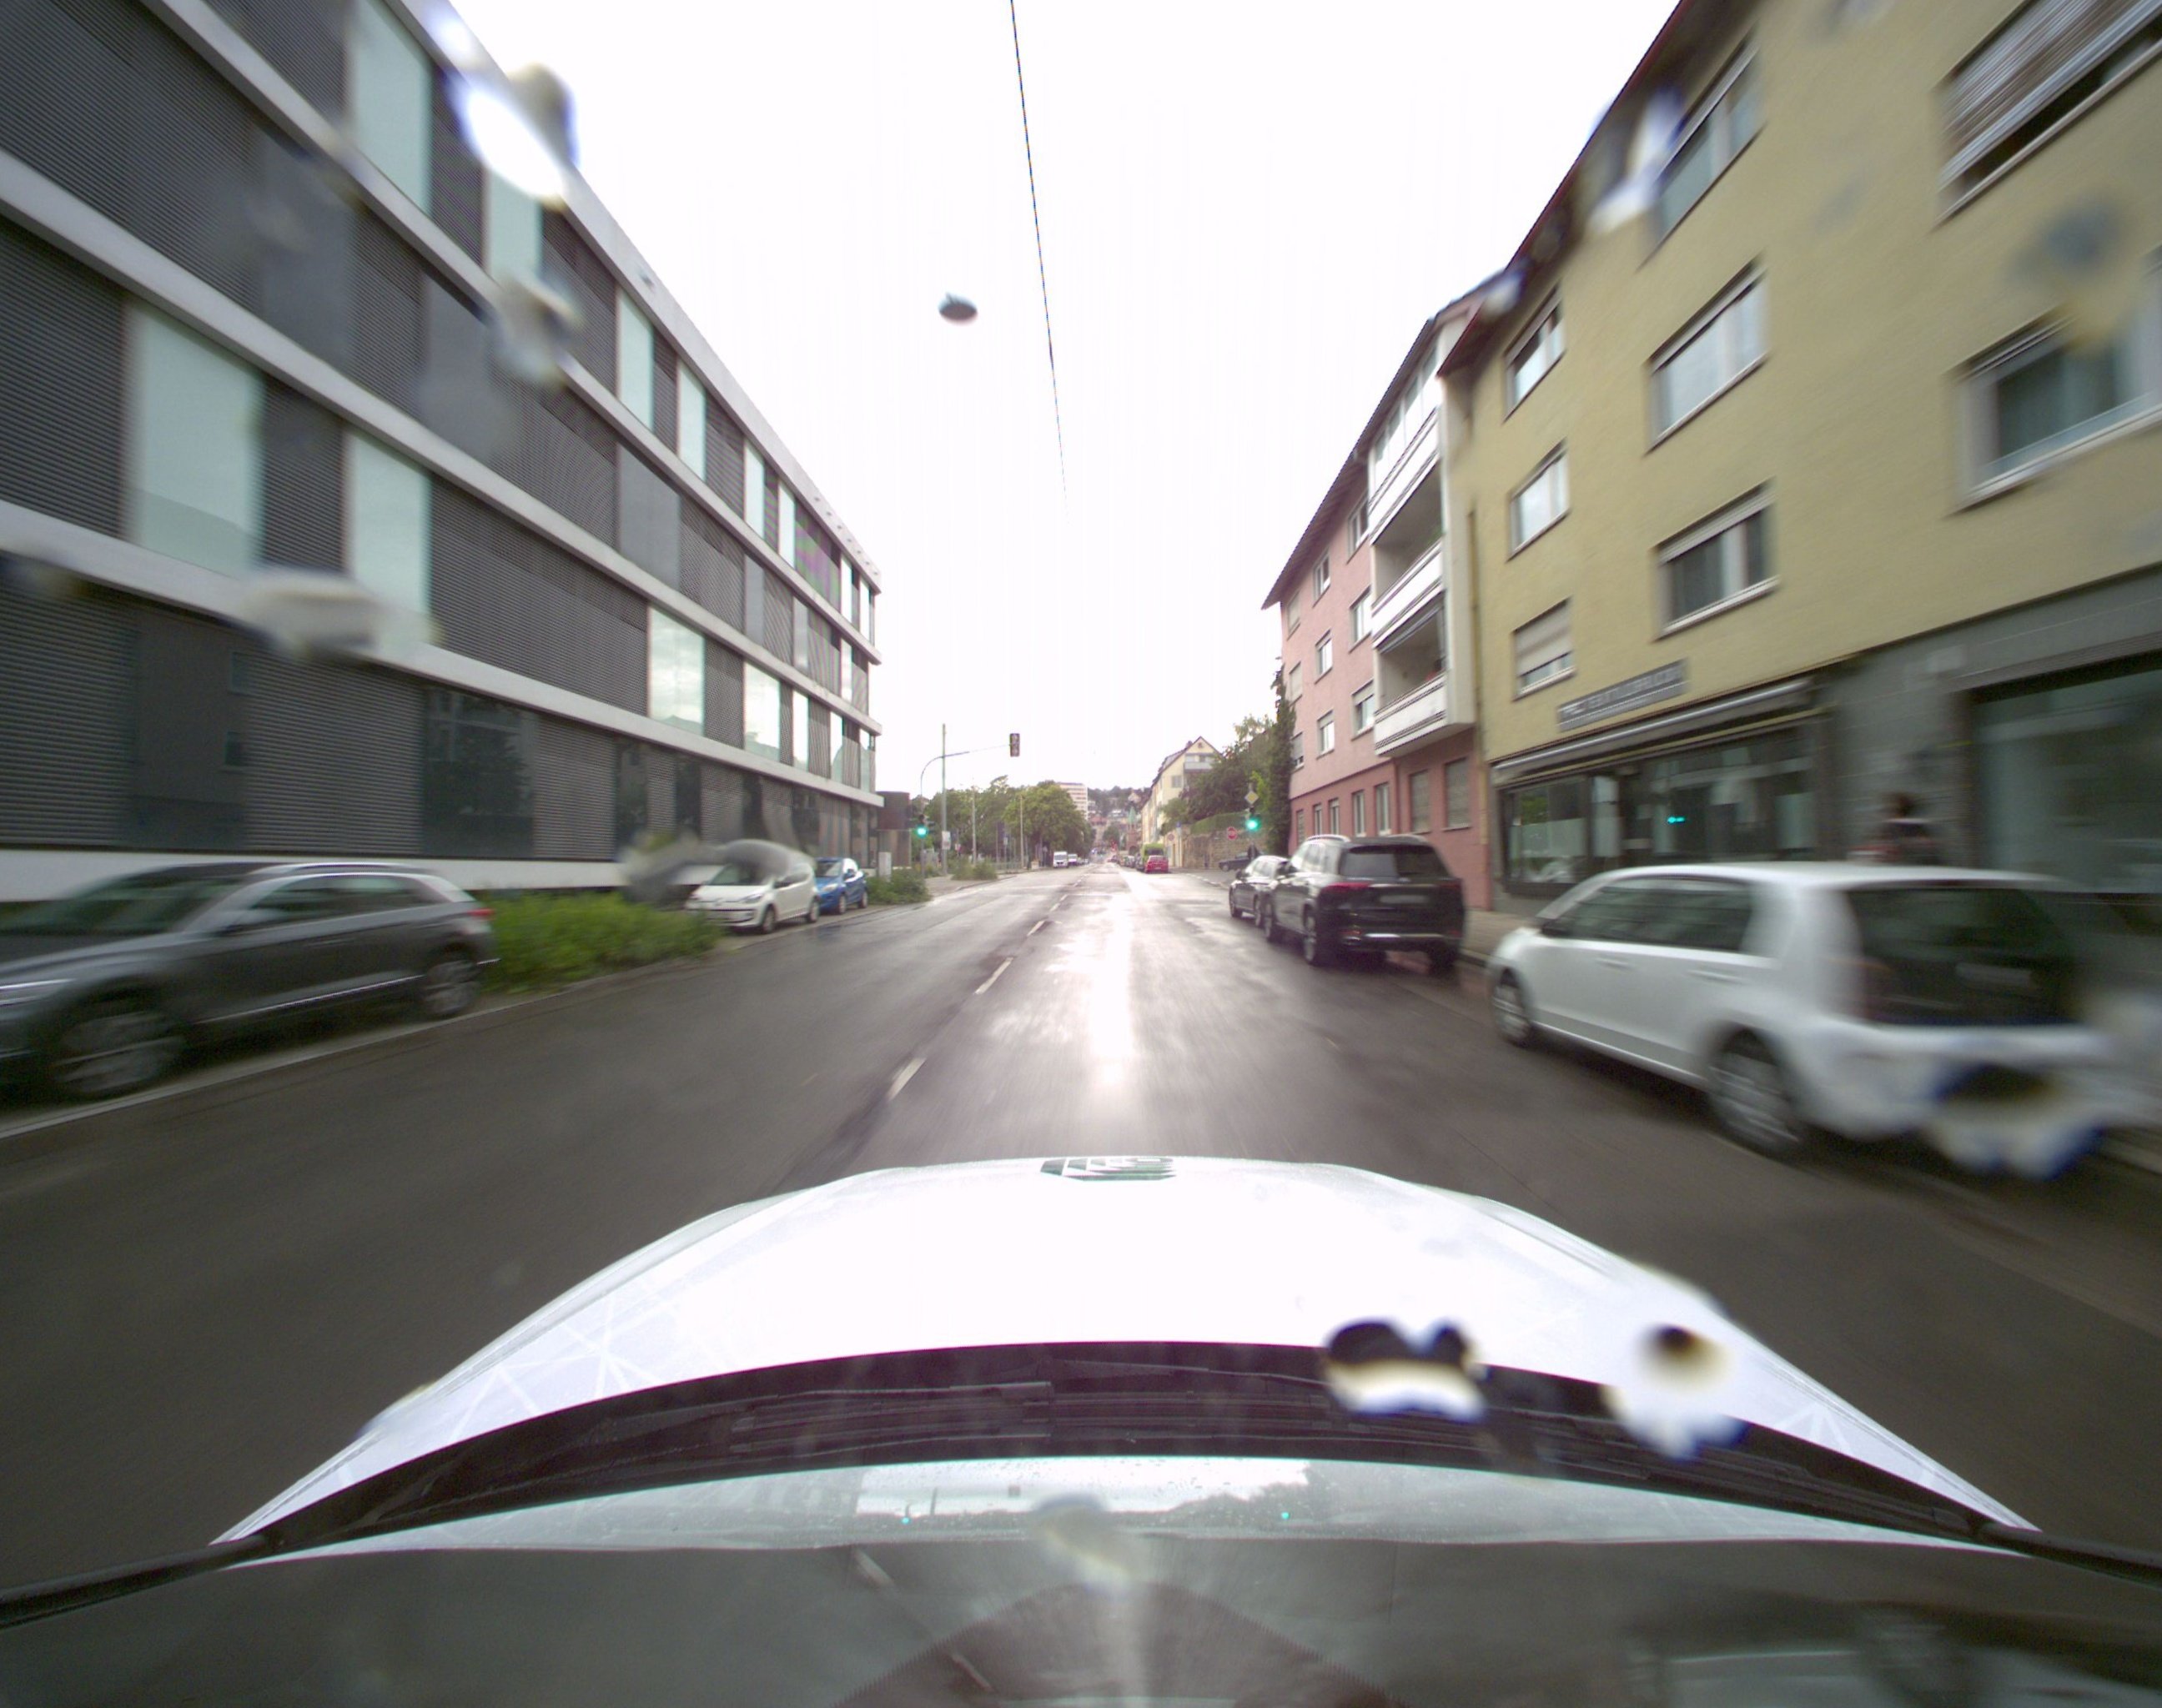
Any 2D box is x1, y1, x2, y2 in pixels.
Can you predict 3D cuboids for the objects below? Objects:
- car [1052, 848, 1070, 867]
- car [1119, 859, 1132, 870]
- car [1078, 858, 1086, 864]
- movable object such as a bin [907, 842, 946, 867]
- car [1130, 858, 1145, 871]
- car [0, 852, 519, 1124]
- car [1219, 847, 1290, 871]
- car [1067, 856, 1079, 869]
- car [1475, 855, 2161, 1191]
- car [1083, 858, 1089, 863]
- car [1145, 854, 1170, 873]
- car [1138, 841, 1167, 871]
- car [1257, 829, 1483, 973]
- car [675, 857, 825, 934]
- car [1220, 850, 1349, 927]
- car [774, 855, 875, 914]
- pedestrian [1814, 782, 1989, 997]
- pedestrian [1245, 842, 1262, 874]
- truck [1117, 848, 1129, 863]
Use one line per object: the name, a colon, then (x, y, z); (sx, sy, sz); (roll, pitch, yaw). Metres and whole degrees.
car: (-2.911, 0.489, 120.076); (2.222, 2.579, 6.538); (-2, 0, 1)
car: (6.704, 1.535, 123.100); (1.710, 1.524, 4.001); (1, 0, 1)
car: (0.166, 1.504, 174.894); (1.676, 1.399, 3.910); (-1, -1, 1)
movable object such as a bin: (-15.564, 0.060, 81.698); (1.679, 2.459, 5.229); (0, -1, -38)
car: (6.827, 1.266, 98.789); (1.623, 1.454, 3.760); (1, 0, 1)
car: (-7.261, 0.800, 6.783); (1.874, 1.589, 4.367); (1, 0, 4)
car: (11.419, 0.346, 53.785); (4.224, 1.393, 1.763); (-4, -3, 44)
car: (-1.608, 1.589, 159.214); (2.004, 2.487, 5.987); (-1, 0, 2)
car: (4.192, 0.749, 5.345); (1.620, 1.456, 3.485); (0, 0, 2)
car: (1.411, 1.790, 230.582); (1.704, 1.451, 4.294); (-1, -1, 1)
car: (5.968, 0.712, 63.840); (1.714, 1.421, 4.206); (1, 0, 3)
car: (6.121, 0.149, 70.598); (2.197, 2.463, 6.083); (1, 0, 2)
car: (4.066, 0.574, 12.364); (1.956, 1.774, 4.514); (0, 0, 2)
car: (-6.988, 0.816, 17.596); (1.630, 1.466, 3.586); (0, 0, 3)
car: (4.427, 0.671, 18.422); (1.786, 1.520, 4.511); (0, 0, 0)
car: (-6.969, 0.782, 22.512); (1.632, 1.466, 3.583); (0, 0, 0)
pedestrian: (7.236, 0.301, 7.224); (0.711, 1.773, 0.748); (-3, 0, 1)
pedestrian: (9.498, 0.226, 44.946); (0.720, 1.715, 0.906); (-2, 0, 2)
truck: (9.211, 0.409, 179.141); (2.460, 3.172, 7.039); (0, -1, 2)
